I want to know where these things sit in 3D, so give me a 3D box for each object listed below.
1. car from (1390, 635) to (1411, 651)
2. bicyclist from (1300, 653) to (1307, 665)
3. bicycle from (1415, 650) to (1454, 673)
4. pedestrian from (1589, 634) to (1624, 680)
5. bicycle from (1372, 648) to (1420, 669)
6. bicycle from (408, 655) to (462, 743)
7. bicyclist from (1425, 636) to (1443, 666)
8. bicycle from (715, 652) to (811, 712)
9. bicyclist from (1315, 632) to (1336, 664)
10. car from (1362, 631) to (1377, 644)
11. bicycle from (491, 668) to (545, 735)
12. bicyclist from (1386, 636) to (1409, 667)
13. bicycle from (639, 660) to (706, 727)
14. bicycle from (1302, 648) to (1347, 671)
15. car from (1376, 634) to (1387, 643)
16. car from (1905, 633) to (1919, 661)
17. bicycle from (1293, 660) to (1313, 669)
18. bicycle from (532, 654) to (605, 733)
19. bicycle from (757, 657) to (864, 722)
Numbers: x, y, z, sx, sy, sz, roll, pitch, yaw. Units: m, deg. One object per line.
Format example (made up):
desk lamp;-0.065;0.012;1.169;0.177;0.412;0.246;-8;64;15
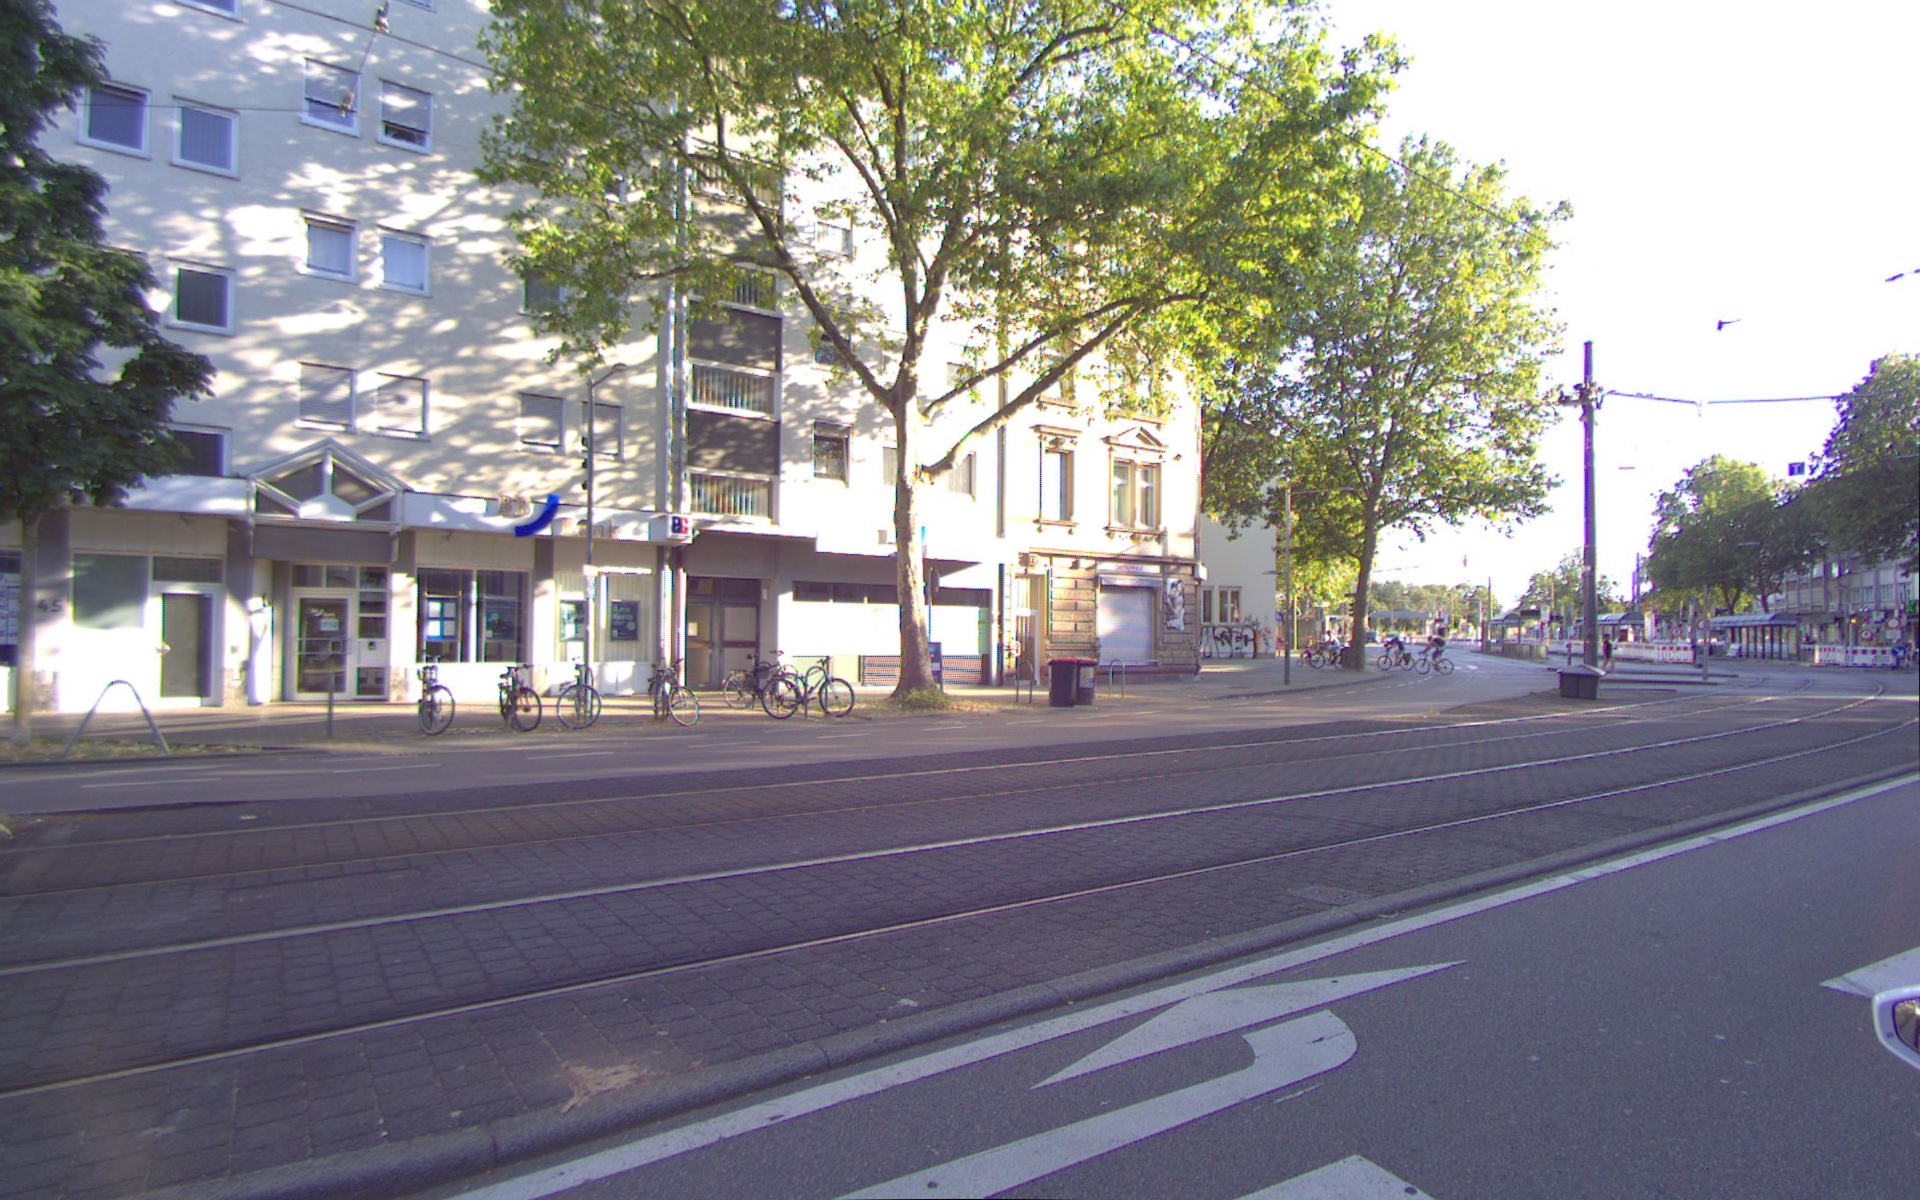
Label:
car;48.917;4.780;111.492;1.962;1.661;3.997;0;-2;25
bicyclist;16.812;2.888;49.150;0.303;0.597;0.280;0;-2;24
bicycle;20.985;2.710;44.410;1.488;0.998;0.448;-1;-2;41
pedestrian;24.975;2.193;38.796;0.639;1.708;0.985;3;-2;-41
bicycle;21.312;2.863;49.114;0.755;0.950;1.999;2;-2;-43
bicycle;-7.754;1.414;14.799;0.506;1.153;1.729;2;-1;-34
bicyclist;20.973;2.239;44.436;0.631;1.310;0.455;-1;-2;41
bicycle;-3.913;1.606;20.004;1.777;1.132;0.617;2;-2;-29
bicyclist;17.124;2.230;47.085;0.827;1.463;0.625;-1;-2;32
car;57.778;5.278;141.660;1.765;1.820;3.998;0;-2;24
bicycle;-6.914;1.562;15.681;0.467;0.900;1.729;2;-1;-34
bicyclist;21.366;2.519;49.065;0.751;1.463;0.831;2;-2;-44
bicycle;-4.949;1.579;17.235;0.584;1.002;1.729;2;-1;-34
bicycle;17.087;2.790;47.090;1.881;1.018;0.619;-1;-2;33
car;79.489;7.208;189.399;1.814;1.706;3.716;0;-2;23
car;64.656;3.158;66.195;1.960;1.815;4.000;2;-1;20
bicycle;16.781;3.154;49.153;0.942;0.404;0.290;0;-2;24
bicycle;-6.296;1.461;16.112;0.724;1.128;1.729;2;-1;-34
bicycle;-2.703;1.596;18.180;1.800;1.091;0.649;2;-2;-29
